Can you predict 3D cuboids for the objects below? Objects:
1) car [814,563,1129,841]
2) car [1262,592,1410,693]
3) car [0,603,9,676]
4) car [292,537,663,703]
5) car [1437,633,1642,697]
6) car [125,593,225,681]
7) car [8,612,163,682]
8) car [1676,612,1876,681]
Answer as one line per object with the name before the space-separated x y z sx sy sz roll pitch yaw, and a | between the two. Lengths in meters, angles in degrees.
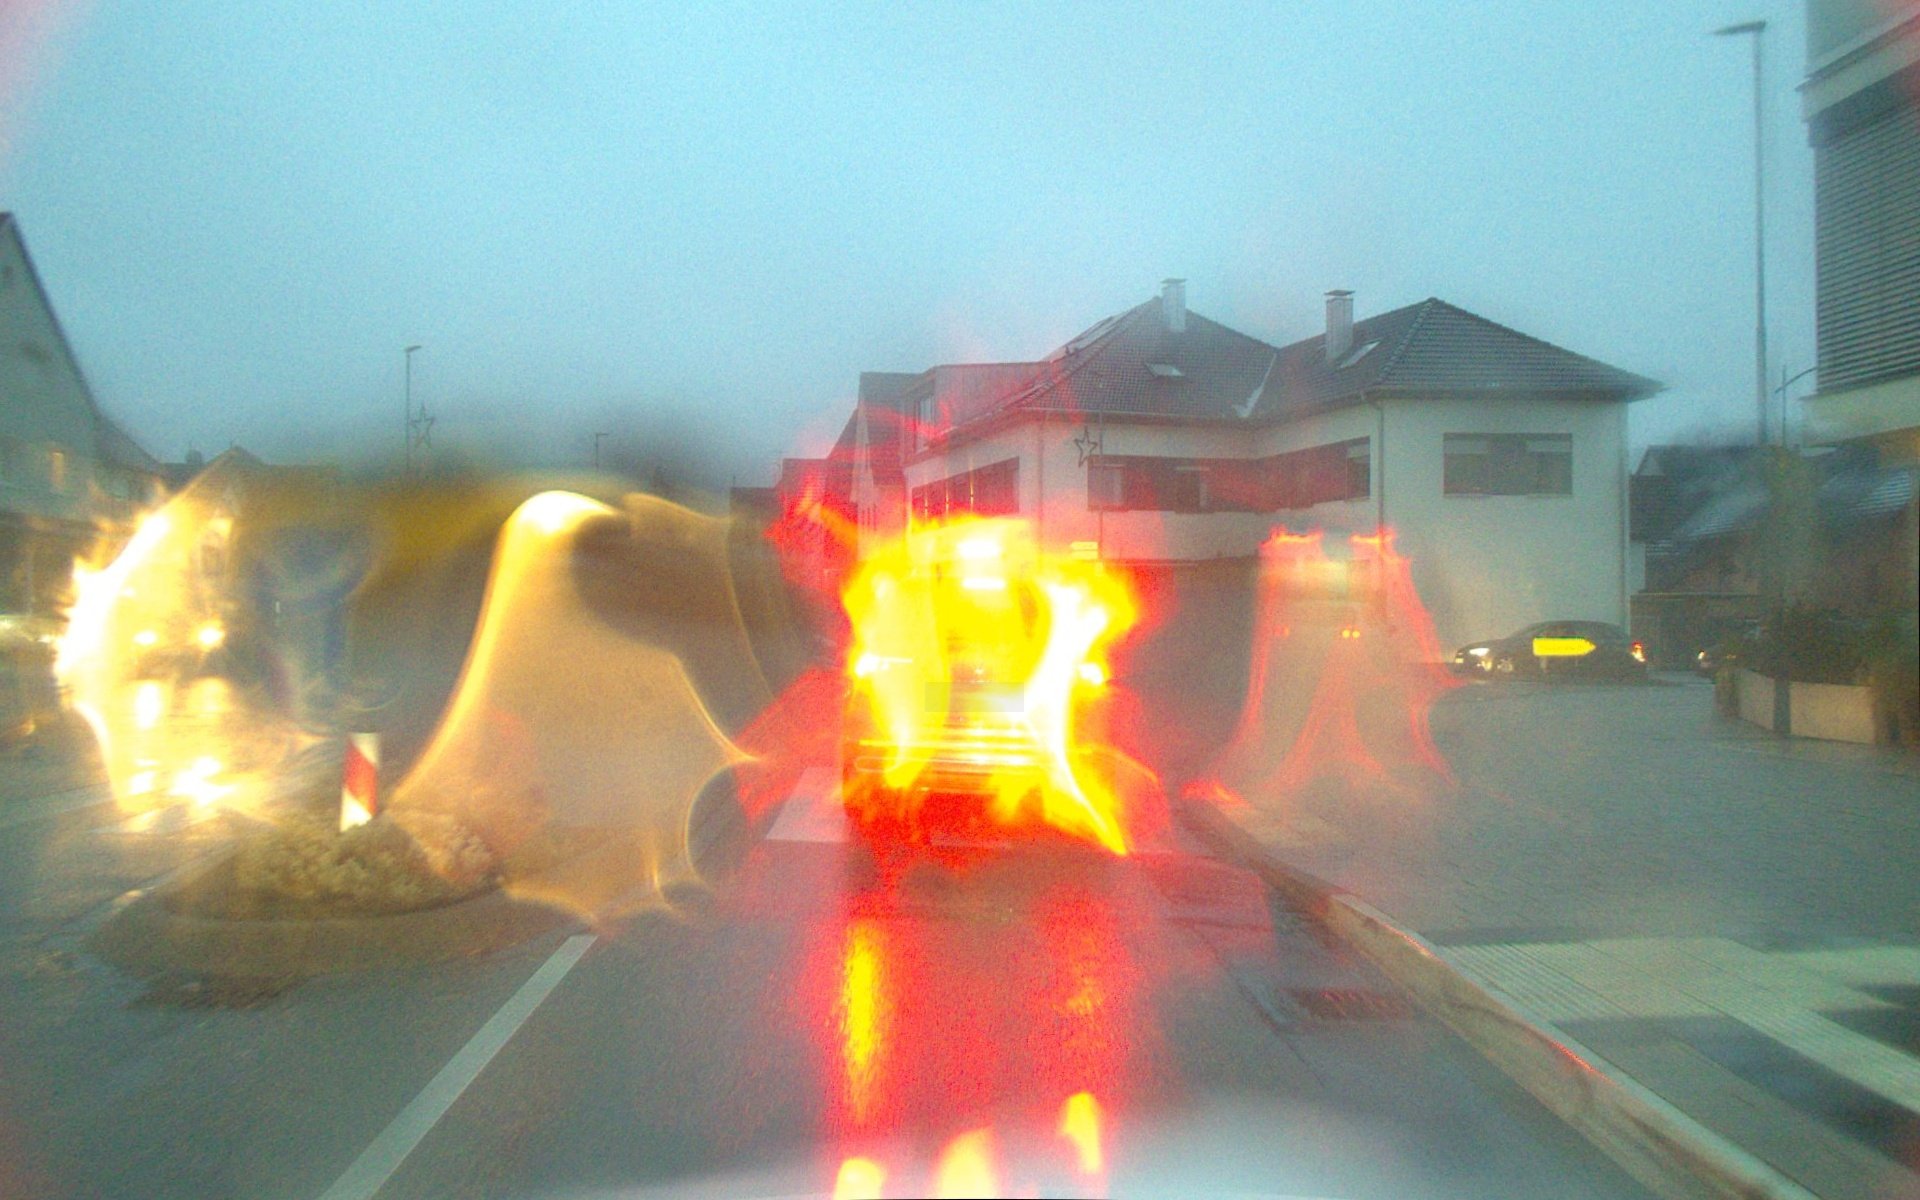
car | 0.097 0.608 11.902 1.876 1.643 3.950 1 0 1
car | 6.367 0.655 27.751 1.742 1.566 3.931 0 0 23
car | -20.897 0.776 32.367 3.745 1.447 1.716 -1 -2 12
car | -6.554 0.239 22.382 4.790 2.049 1.997 0 -1 28
car | 13.507 1.534 38.661 4.138 1.408 1.849 1 -3 -5
car | -13.650 0.602 28.845 1.484 1.436 3.340 0 0 -25
car | -19.102 1.061 36.333 1.677 1.447 4.005 0 -2 -7
car | 19.296 1.109 39.211 3.906 1.579 1.696 0 -2 -2
